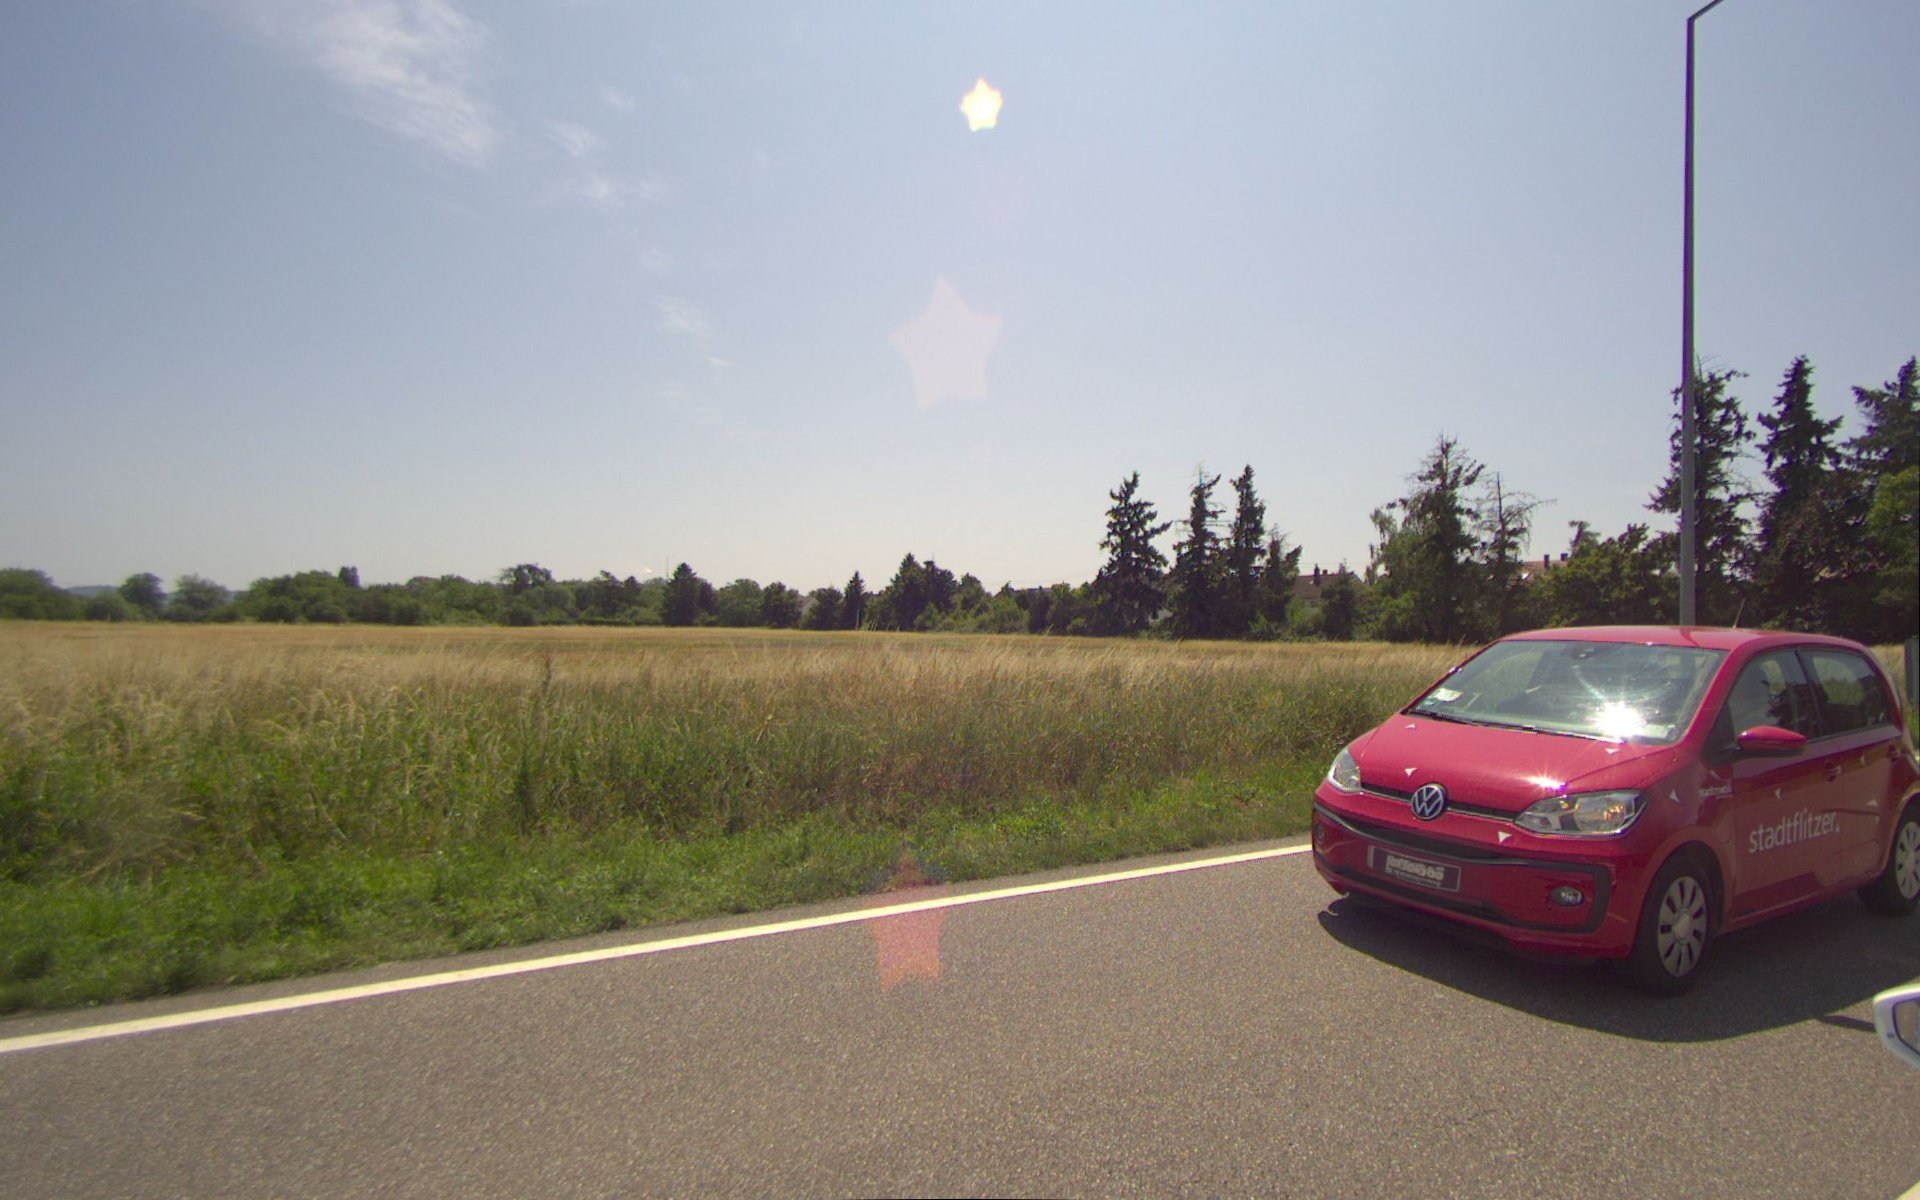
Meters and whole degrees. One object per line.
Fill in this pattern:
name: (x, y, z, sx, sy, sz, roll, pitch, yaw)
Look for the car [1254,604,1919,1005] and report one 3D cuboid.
car: (3.507, 0.818, 5.251, 3.800, 1.418, 1.637, 3, -2, -30)
